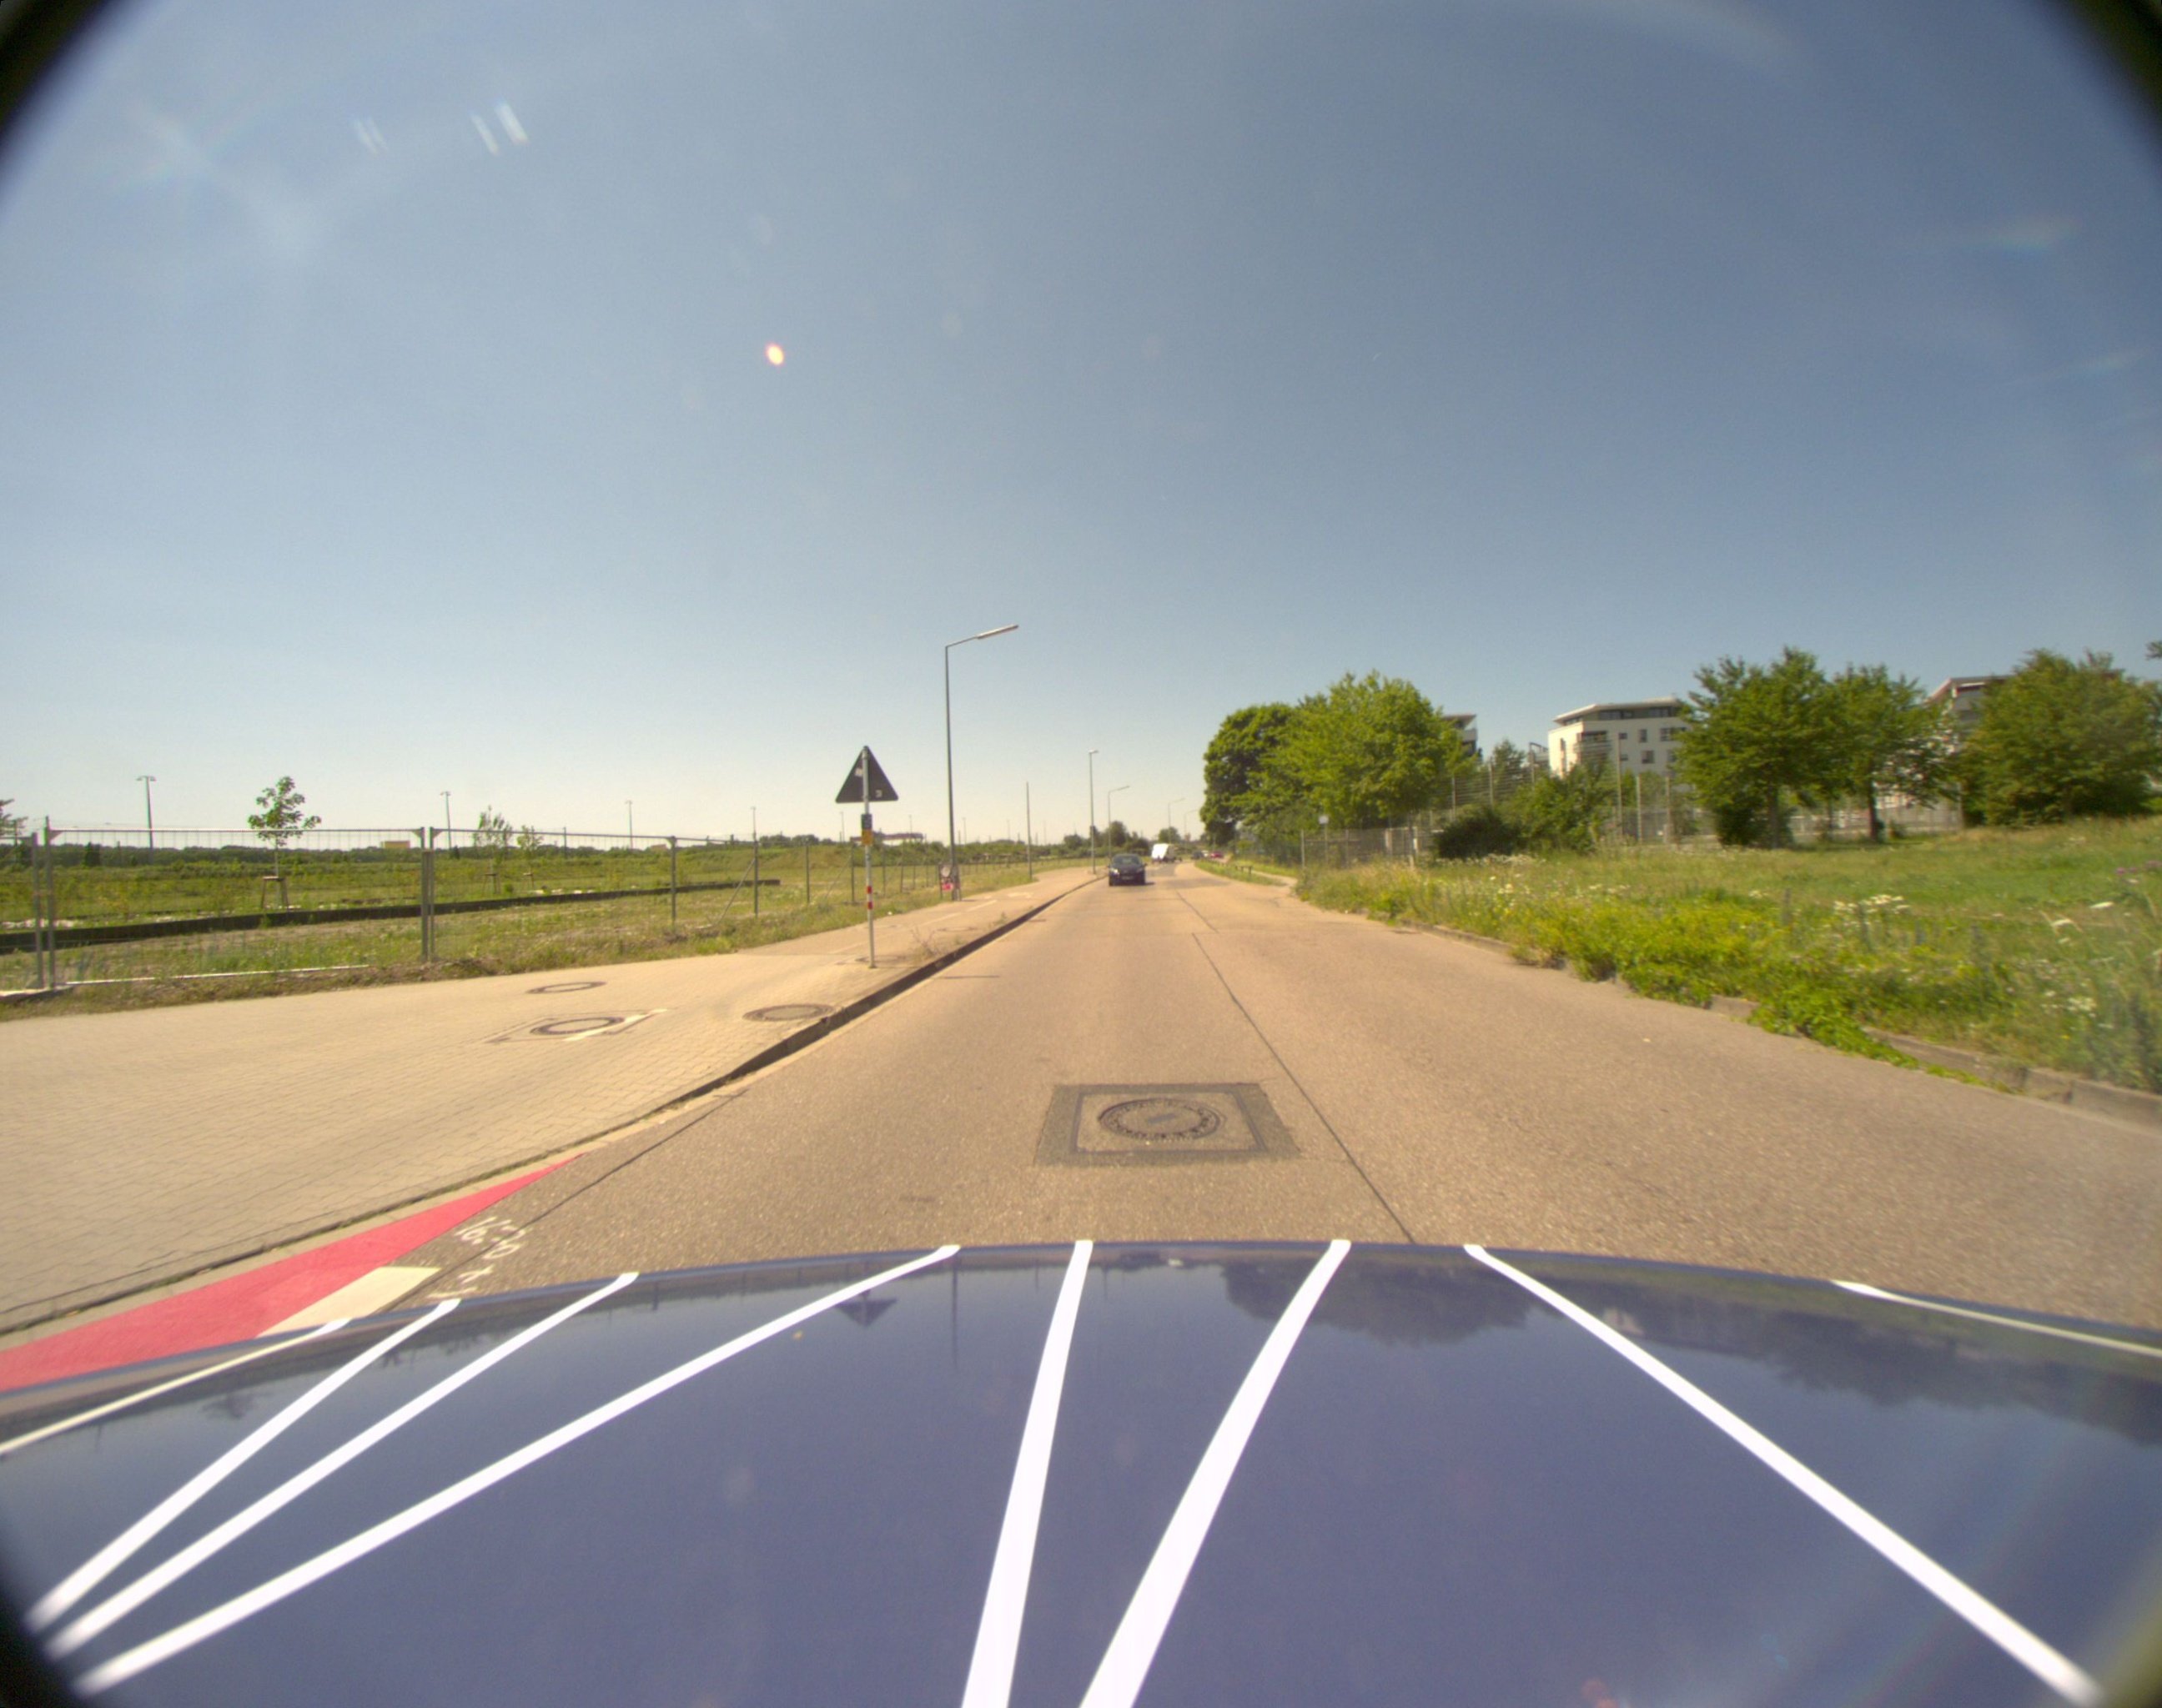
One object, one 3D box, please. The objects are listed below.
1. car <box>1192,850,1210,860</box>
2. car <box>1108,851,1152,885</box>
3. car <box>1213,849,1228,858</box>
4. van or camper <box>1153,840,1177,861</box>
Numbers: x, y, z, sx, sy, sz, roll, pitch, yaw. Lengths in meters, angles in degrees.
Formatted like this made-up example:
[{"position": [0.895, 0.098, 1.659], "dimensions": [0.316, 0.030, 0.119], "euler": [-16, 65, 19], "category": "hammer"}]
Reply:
[{"position": [19.362, 0.214, 122.125], "dimensions": [1.651, 1.458, 3.872], "euler": [-2, 0, 27], "category": "car"}, {"position": [2.377, 0.620, 35.862], "dimensions": [1.653, 1.458, 4.162], "euler": [-2, 0, 8], "category": "car"}, {"position": [25.504, -0.068, 138.507], "dimensions": [1.651, 1.458, 3.872], "euler": [-2, 0, 25], "category": "car"}, {"position": [11.202, -0.505, 100.716], "dimensions": [2.139, 2.558, 5.872], "euler": [-2, 0, 15], "category": "van or camper"}]
